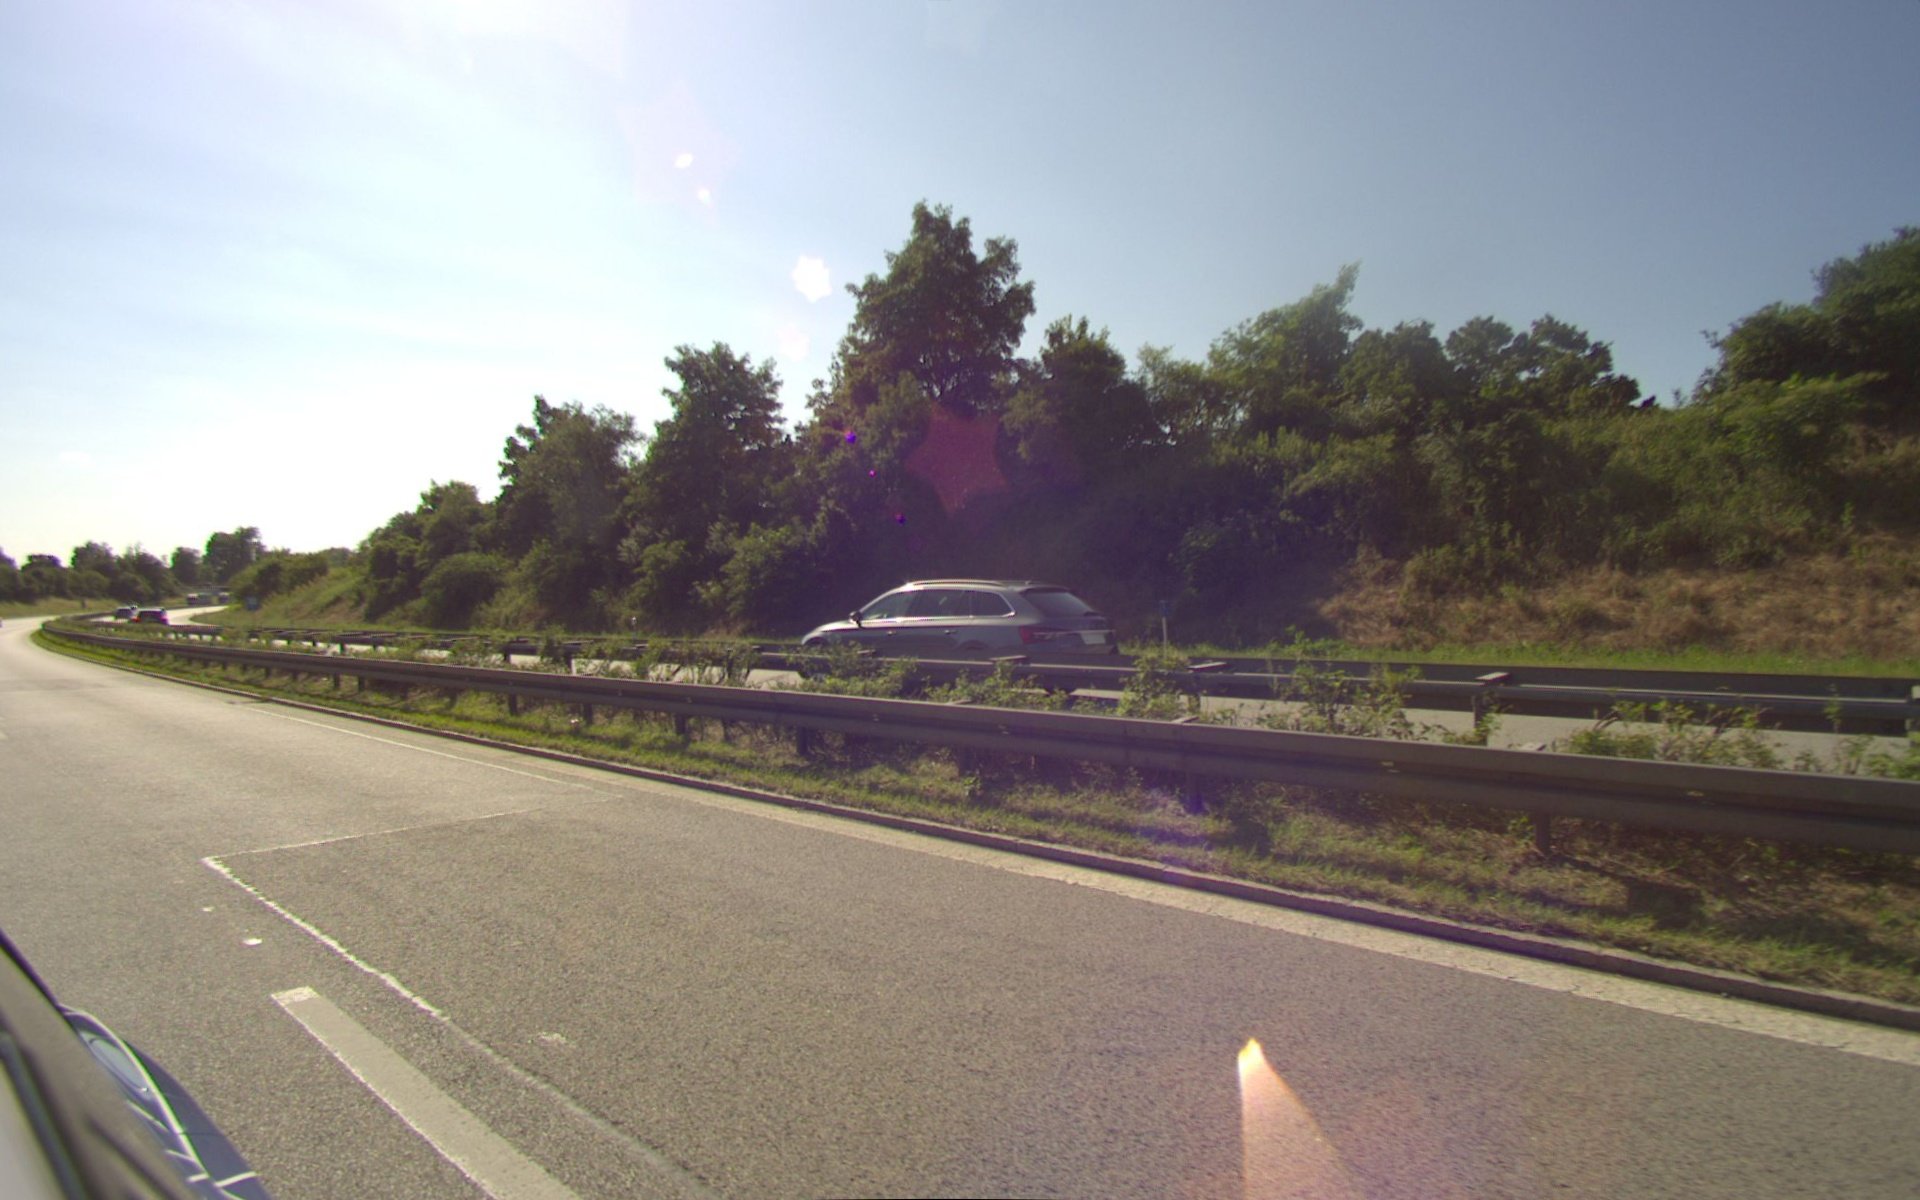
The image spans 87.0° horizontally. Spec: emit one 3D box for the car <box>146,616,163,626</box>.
[{"bbox_3d":[-128.516,3.300,161.380,1.797,1.491,4.691,0,0,-42],"label":"car"}]

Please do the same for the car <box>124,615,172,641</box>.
[{"bbox_3d":[-50.034,1.670,62.310,4.907,1.465,1.627,0,0,43],"label":"car"}]

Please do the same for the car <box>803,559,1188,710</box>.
[{"bbox_3d":[0.295,0.396,12.775,4.674,1.557,1.973,-1,-1,41],"label":"car"}]

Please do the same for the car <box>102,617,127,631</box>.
[{"bbox_3d":[-102.630,2.875,122.828,4.436,1.664,1.971,-1,-2,45],"label":"car"}]
